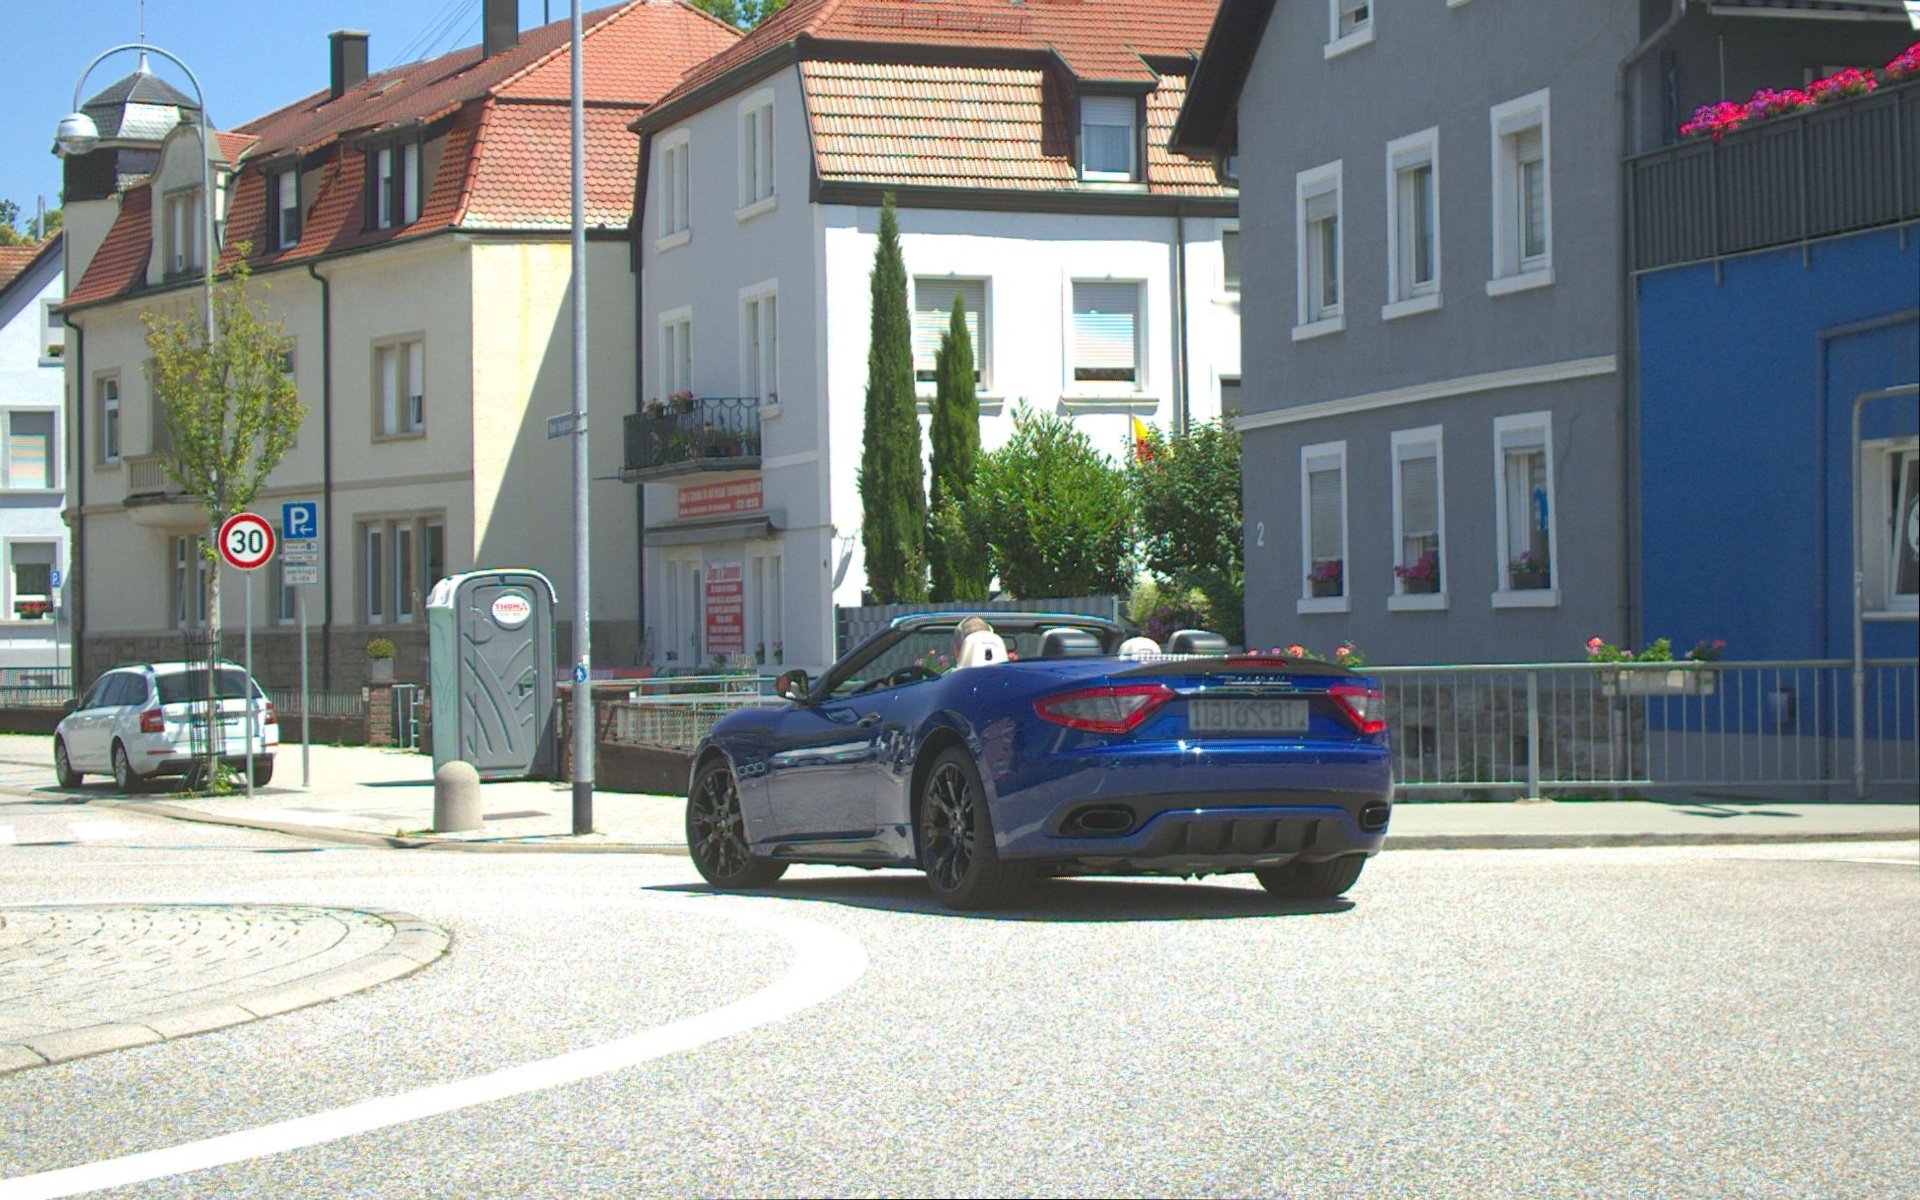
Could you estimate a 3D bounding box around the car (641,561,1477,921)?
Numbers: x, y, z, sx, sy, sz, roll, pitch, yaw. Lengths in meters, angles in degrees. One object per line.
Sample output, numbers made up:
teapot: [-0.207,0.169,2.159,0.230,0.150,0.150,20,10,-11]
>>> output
car: [0.252,0.632,15.831,1.975,1.393,4.627,1,-2,-25]

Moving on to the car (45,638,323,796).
car: [-9.192,1.350,40.466,1.994,1.579,4.287,-6,1,-28]
